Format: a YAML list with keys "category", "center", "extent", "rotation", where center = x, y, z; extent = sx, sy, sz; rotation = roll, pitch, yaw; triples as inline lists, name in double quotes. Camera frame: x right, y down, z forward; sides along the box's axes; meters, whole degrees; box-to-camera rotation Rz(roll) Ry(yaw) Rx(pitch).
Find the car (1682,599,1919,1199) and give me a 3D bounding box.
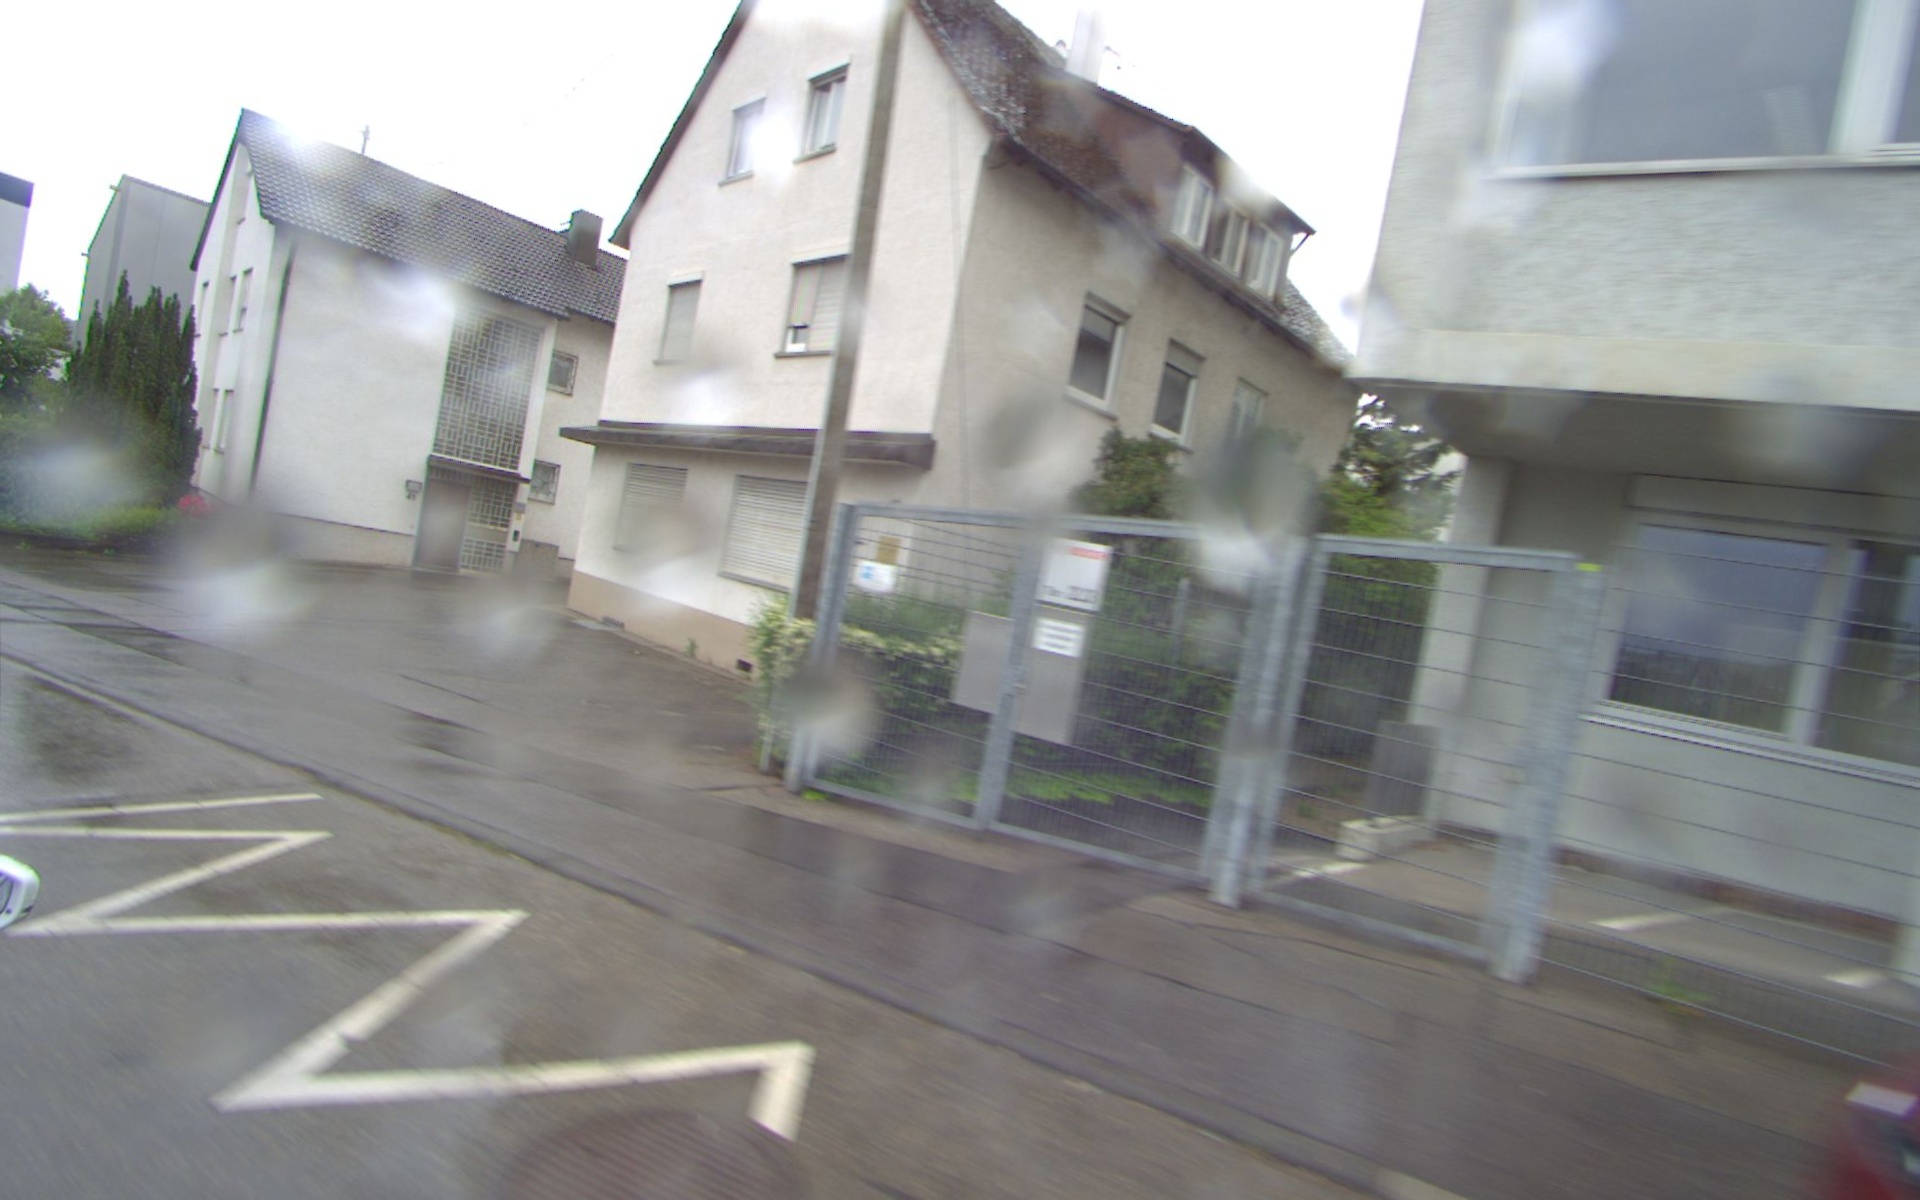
- category: "car"
  center: [3.624, 1.143, 0.615]
  extent: [4.875, 1.664, 1.997]
  rotation: [8, 0, 32]
